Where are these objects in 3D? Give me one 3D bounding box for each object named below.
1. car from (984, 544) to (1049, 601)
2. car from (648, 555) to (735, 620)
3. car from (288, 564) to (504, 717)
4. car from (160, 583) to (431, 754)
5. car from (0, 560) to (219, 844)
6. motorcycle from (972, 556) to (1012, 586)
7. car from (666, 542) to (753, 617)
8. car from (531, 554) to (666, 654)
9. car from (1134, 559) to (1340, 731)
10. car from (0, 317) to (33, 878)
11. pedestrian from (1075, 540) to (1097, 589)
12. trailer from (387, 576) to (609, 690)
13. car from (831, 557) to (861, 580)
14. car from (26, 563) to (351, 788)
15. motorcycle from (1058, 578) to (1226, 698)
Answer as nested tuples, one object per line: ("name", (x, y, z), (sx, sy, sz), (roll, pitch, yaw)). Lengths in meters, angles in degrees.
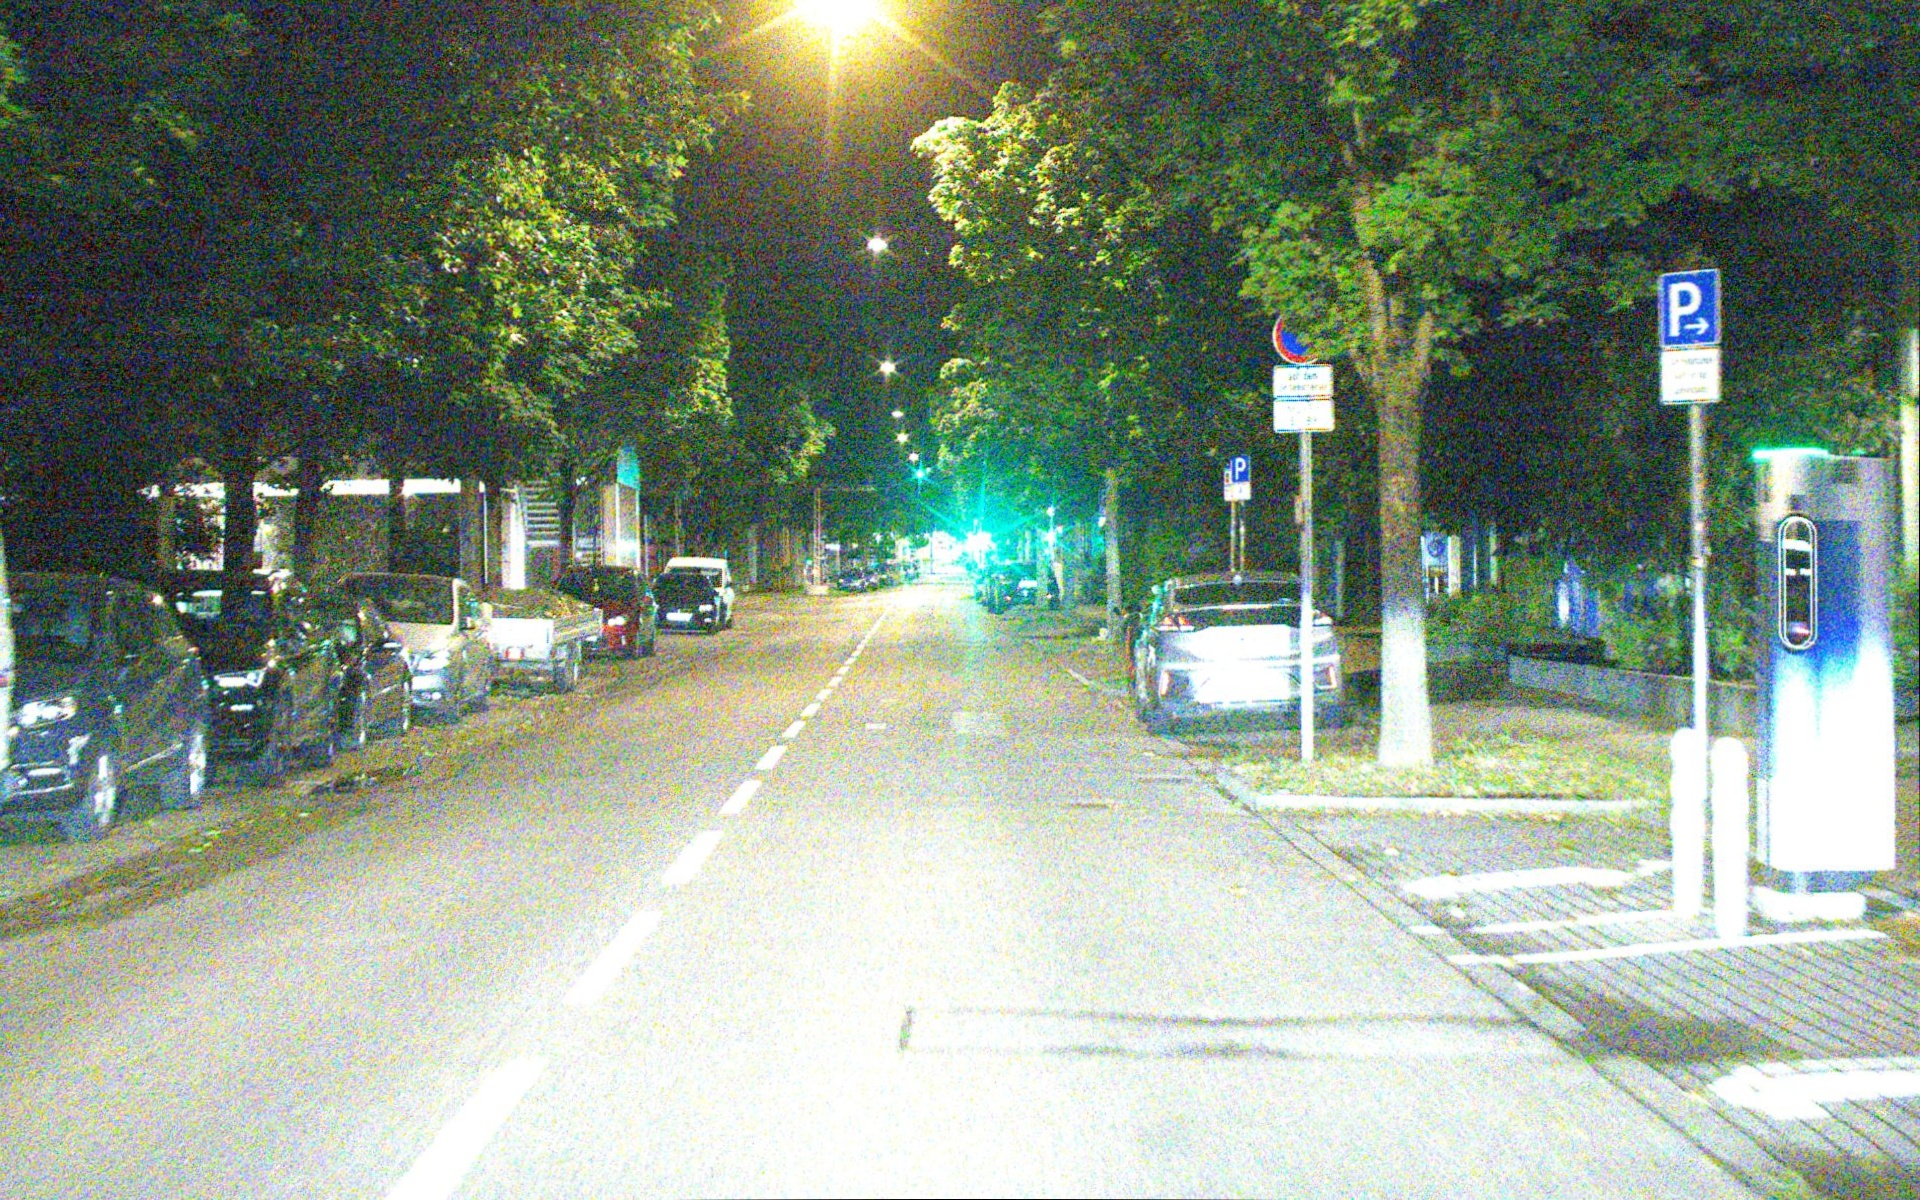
("car", (1.661, -0.843, 102.762), (1.853, 1.648, 4.209), (-1, 1, 0))
("car", (-6.400, -0.307, 82.270), (1.700, 1.428, 3.828), (2, 1, 0))
("car", (-6.094, 0.395, 37.557), (1.716, 1.496, 4.206), (2, 1, -1))
("car", (-6.131, 0.586, 32.196), (1.704, 1.407, 4.634), (-1, 1, -1))
("car", (-5.998, 0.564, 21.863), (1.742, 1.601, 4.116), (1, 1, -1))
("motorcycle", (1.349, -1.225, 144.182), (0.637, 1.265, 2.060), (0, 1, 35))
("car", (-6.447, -0.551, 88.762), (1.822, 1.805, 4.210), (2, 1, 1))
("car", (-6.293, 0.037, 60.285), (1.822, 1.593, 4.073), (2, 1, 1))
("car", (2.545, 0.376, 32.390), (1.668, 1.424, 4.148), (-3, 1, 2))
("car", (-5.999, 0.009, 15.920), (2.179, 2.899, 4.910), (1, 1, -1))
("pedestrian", (4.539, -1.289, 124.072), (0.705, 1.716, 0.821), (-2, 1, 0))
("trailer", (-6.025, 0.387, 45.467), (2.110, 1.330, 5.435), (2, 1, 1))
("car", (-6.981, -1.925, 210.775), (1.740, 1.411, 3.752), (0, 1, 0))
("car", (-5.956, 0.526, 27.001), (1.742, 1.601, 4.299), (1, 1, -2))
("motorcycle", (2.027, 0.408, 38.673), (0.926, 1.279, 2.235), (-2, 1, -25))
